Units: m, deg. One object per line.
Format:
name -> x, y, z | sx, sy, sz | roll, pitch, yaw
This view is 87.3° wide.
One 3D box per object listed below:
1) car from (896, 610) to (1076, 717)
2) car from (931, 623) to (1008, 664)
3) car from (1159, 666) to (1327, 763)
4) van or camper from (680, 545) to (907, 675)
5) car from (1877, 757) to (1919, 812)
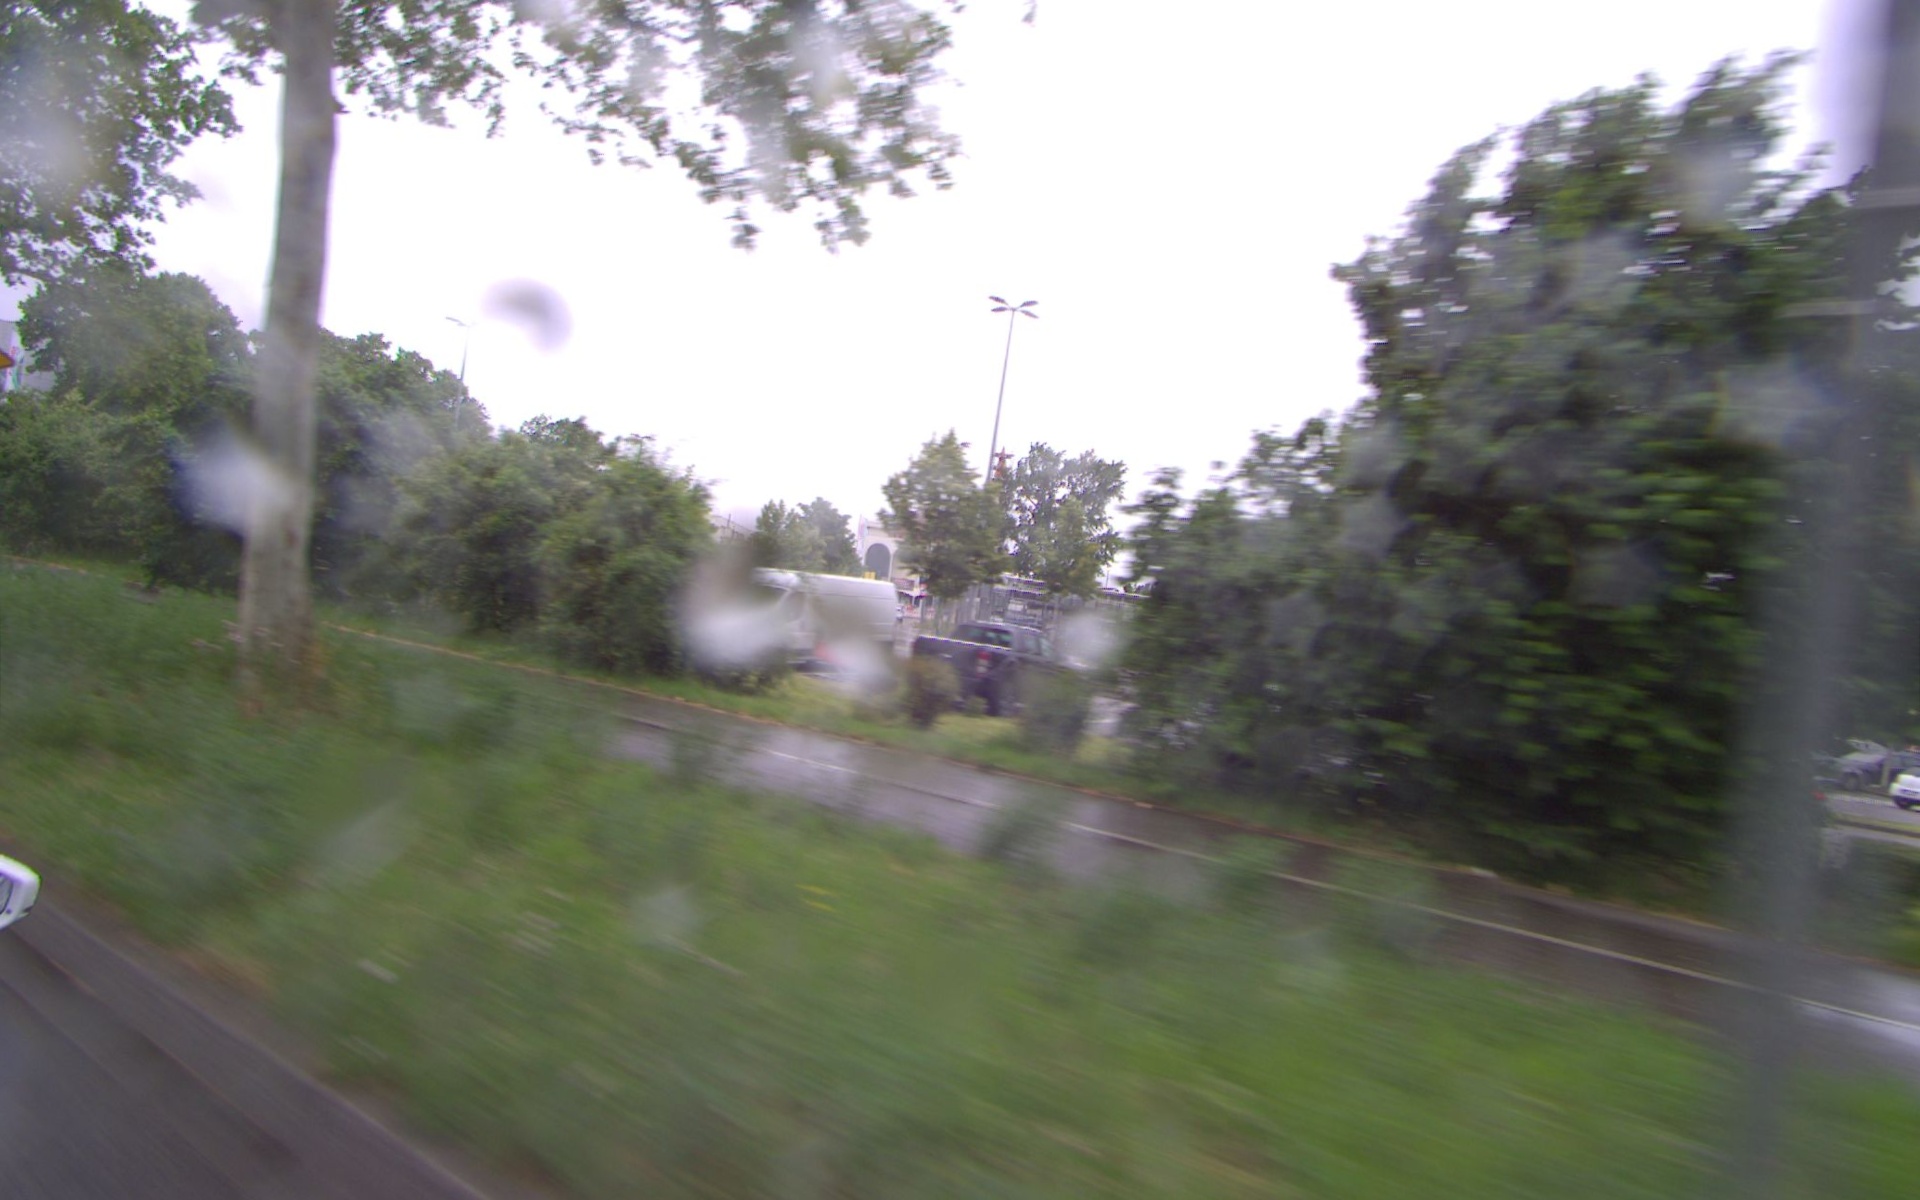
car -> 0.645, 1.354, 20.693 | 1.849, 1.774, 3.996 | 7, -2, 30
car -> 0.494, 2.409, 56.065 | 3.931, 1.738, 1.997 | 7, 0, -8
car -> 5.687, 2.264, 19.906 | 1.848, 1.473, 3.991 | 7, -2, 35
van or camper -> -4.051, 0.401, 26.009 | 1.966, 2.573, 6.378 | 9, -1, 29
car -> 30.436, 5.838, 30.295 | 3.959, 1.471, 1.805 | 8, -1, -3
